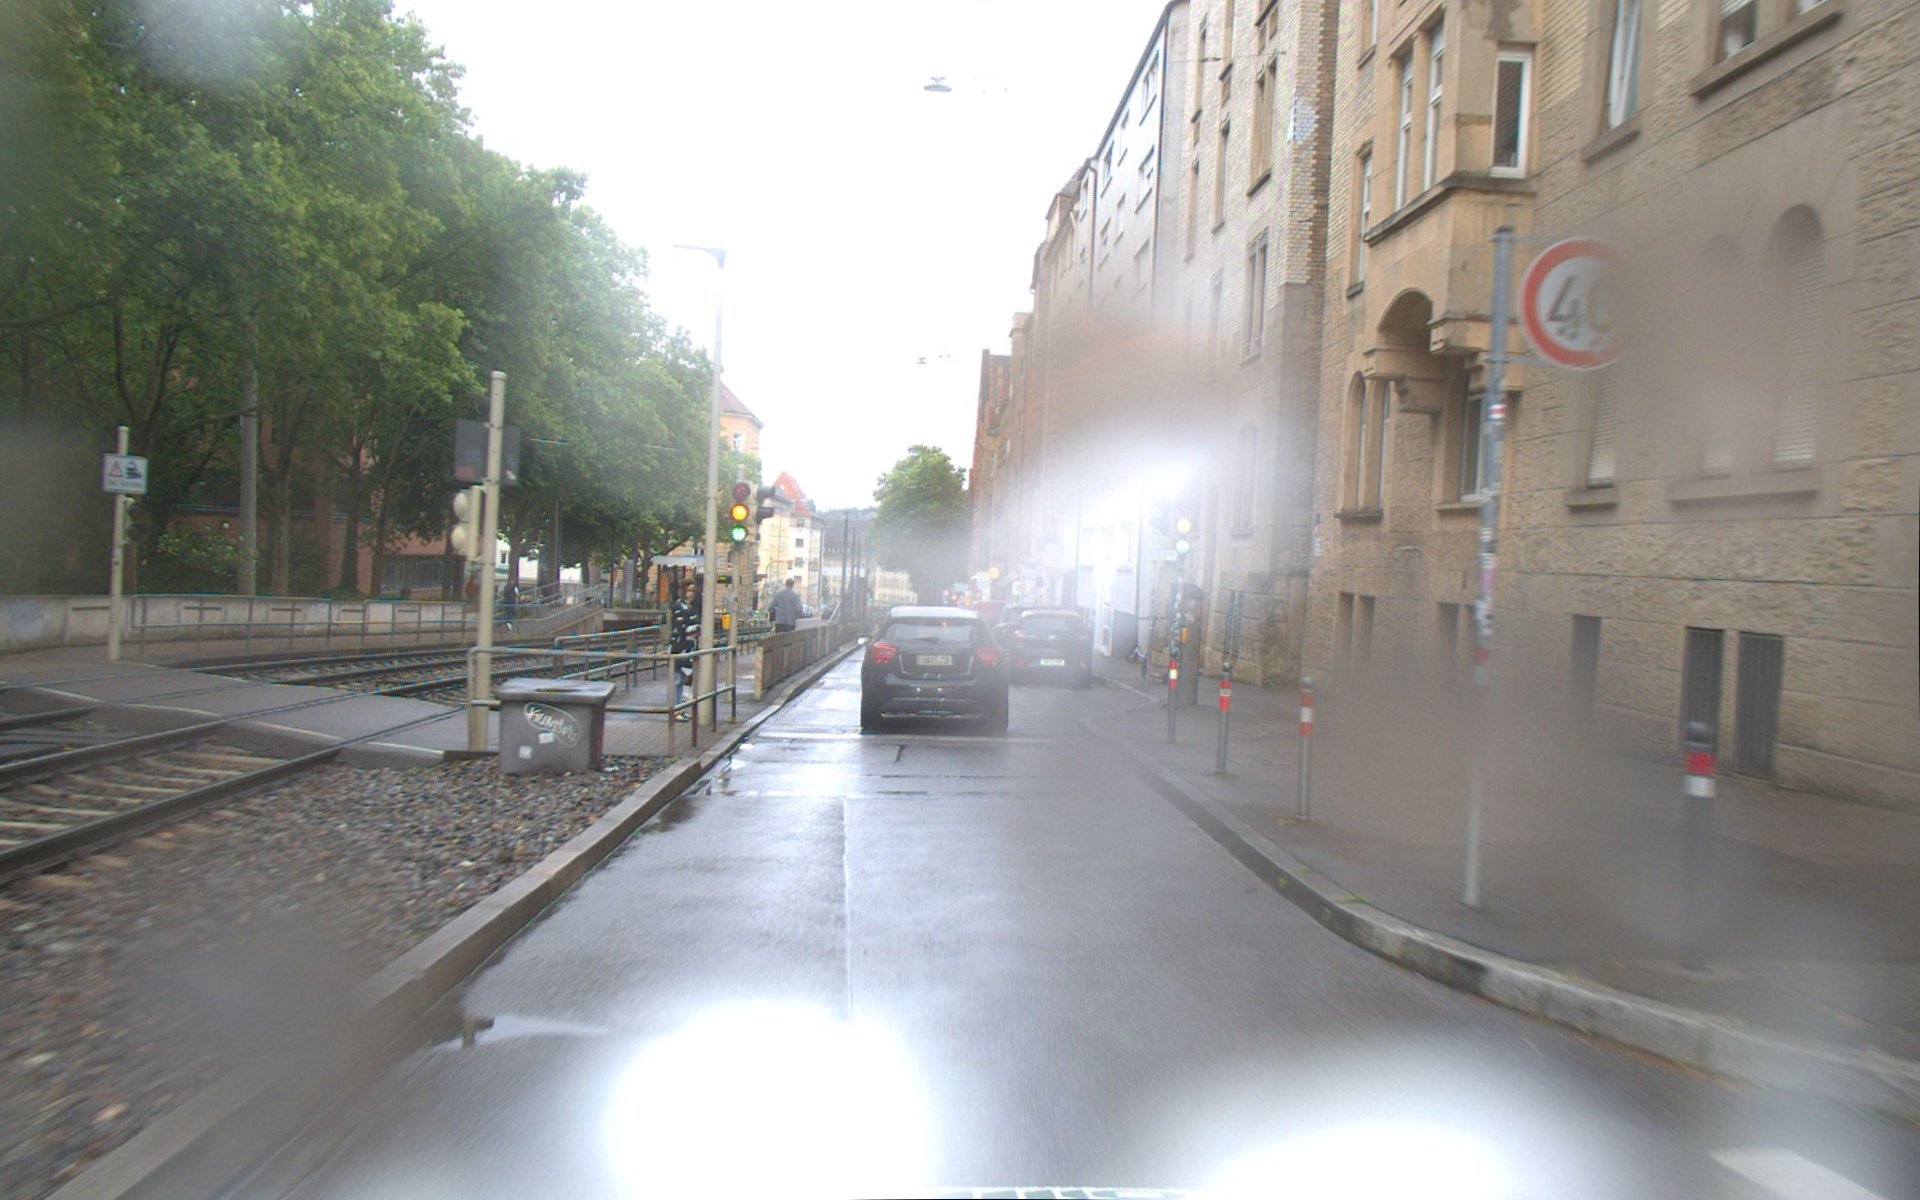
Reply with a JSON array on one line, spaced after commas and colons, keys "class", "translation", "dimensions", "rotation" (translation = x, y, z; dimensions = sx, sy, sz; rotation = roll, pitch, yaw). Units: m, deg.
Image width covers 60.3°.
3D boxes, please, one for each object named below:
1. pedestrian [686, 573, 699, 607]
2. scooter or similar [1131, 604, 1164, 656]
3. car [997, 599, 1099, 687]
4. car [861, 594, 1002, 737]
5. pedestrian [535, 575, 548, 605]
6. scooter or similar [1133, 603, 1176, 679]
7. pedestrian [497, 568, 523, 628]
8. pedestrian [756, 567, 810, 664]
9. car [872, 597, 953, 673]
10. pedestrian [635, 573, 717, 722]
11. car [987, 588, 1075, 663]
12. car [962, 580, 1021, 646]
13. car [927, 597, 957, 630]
[{"class": "pedestrian", "translation": [-14.279, -0.523, 88.188], "dimensions": [0.508, 1.747, 0.550], "rotation": [4, 0, -2]}, {"class": "scooter or similar", "translation": [5.087, 0.796, 44.956], "dimensions": [0.440, 1.344, 1.774], "rotation": [0, 1, -9]}, {"class": "car", "translation": [1.770, 0.850, 34.406], "dimensions": [1.790, 1.646, 3.863], "rotation": [0, 1, -2]}, {"class": "car", "translation": [-0.392, 0.732, 20.420], "dimensions": [1.548, 1.531, 3.573], "rotation": [2, 1, -2]}, {"class": "pedestrian", "translation": [-23.167, -0.567, 91.537], "dimensions": [0.508, 1.623, 0.600], "rotation": [1, 0, -1]}, {"class": "scooter or similar", "translation": [3.614, 0.752, 30.846], "dimensions": [0.440, 1.344, 1.776], "rotation": [0, 1, -5]}, {"class": "pedestrian", "translation": [-13.714, -0.054, 50.416], "dimensions": [0.523, 1.784, 0.607], "rotation": [4, 0, -2]}, {"class": "pedestrian", "translation": [-3.764, 0.310, 35.280], "dimensions": [1.116, 2.033, 1.171], "rotation": [0, 1, -6]}, {"class": "car", "translation": [-1.124, 0.781, 39.005], "dimensions": [1.749, 1.608, 3.999], "rotation": [2, 1, -2]}, {"class": "pedestrian", "translation": [-3.238, 0.528, 18.935], "dimensions": [0.789, 1.662, 0.892], "rotation": [0, 1, -2]}, {"class": "car", "translation": [1.605, 0.554, 38.600], "dimensions": [1.724, 1.606, 3.999], "rotation": [0, 1, -2]}, {"class": "car", "translation": [0.987, 0.381, 54.062], "dimensions": [1.724, 2.049, 3.999], "rotation": [0, 1, -2]}, {"class": "car", "translation": [-1.221, 0.895, 111.605], "dimensions": [1.953, 2.049, 4.000], "rotation": [0, 1, -1]}]
